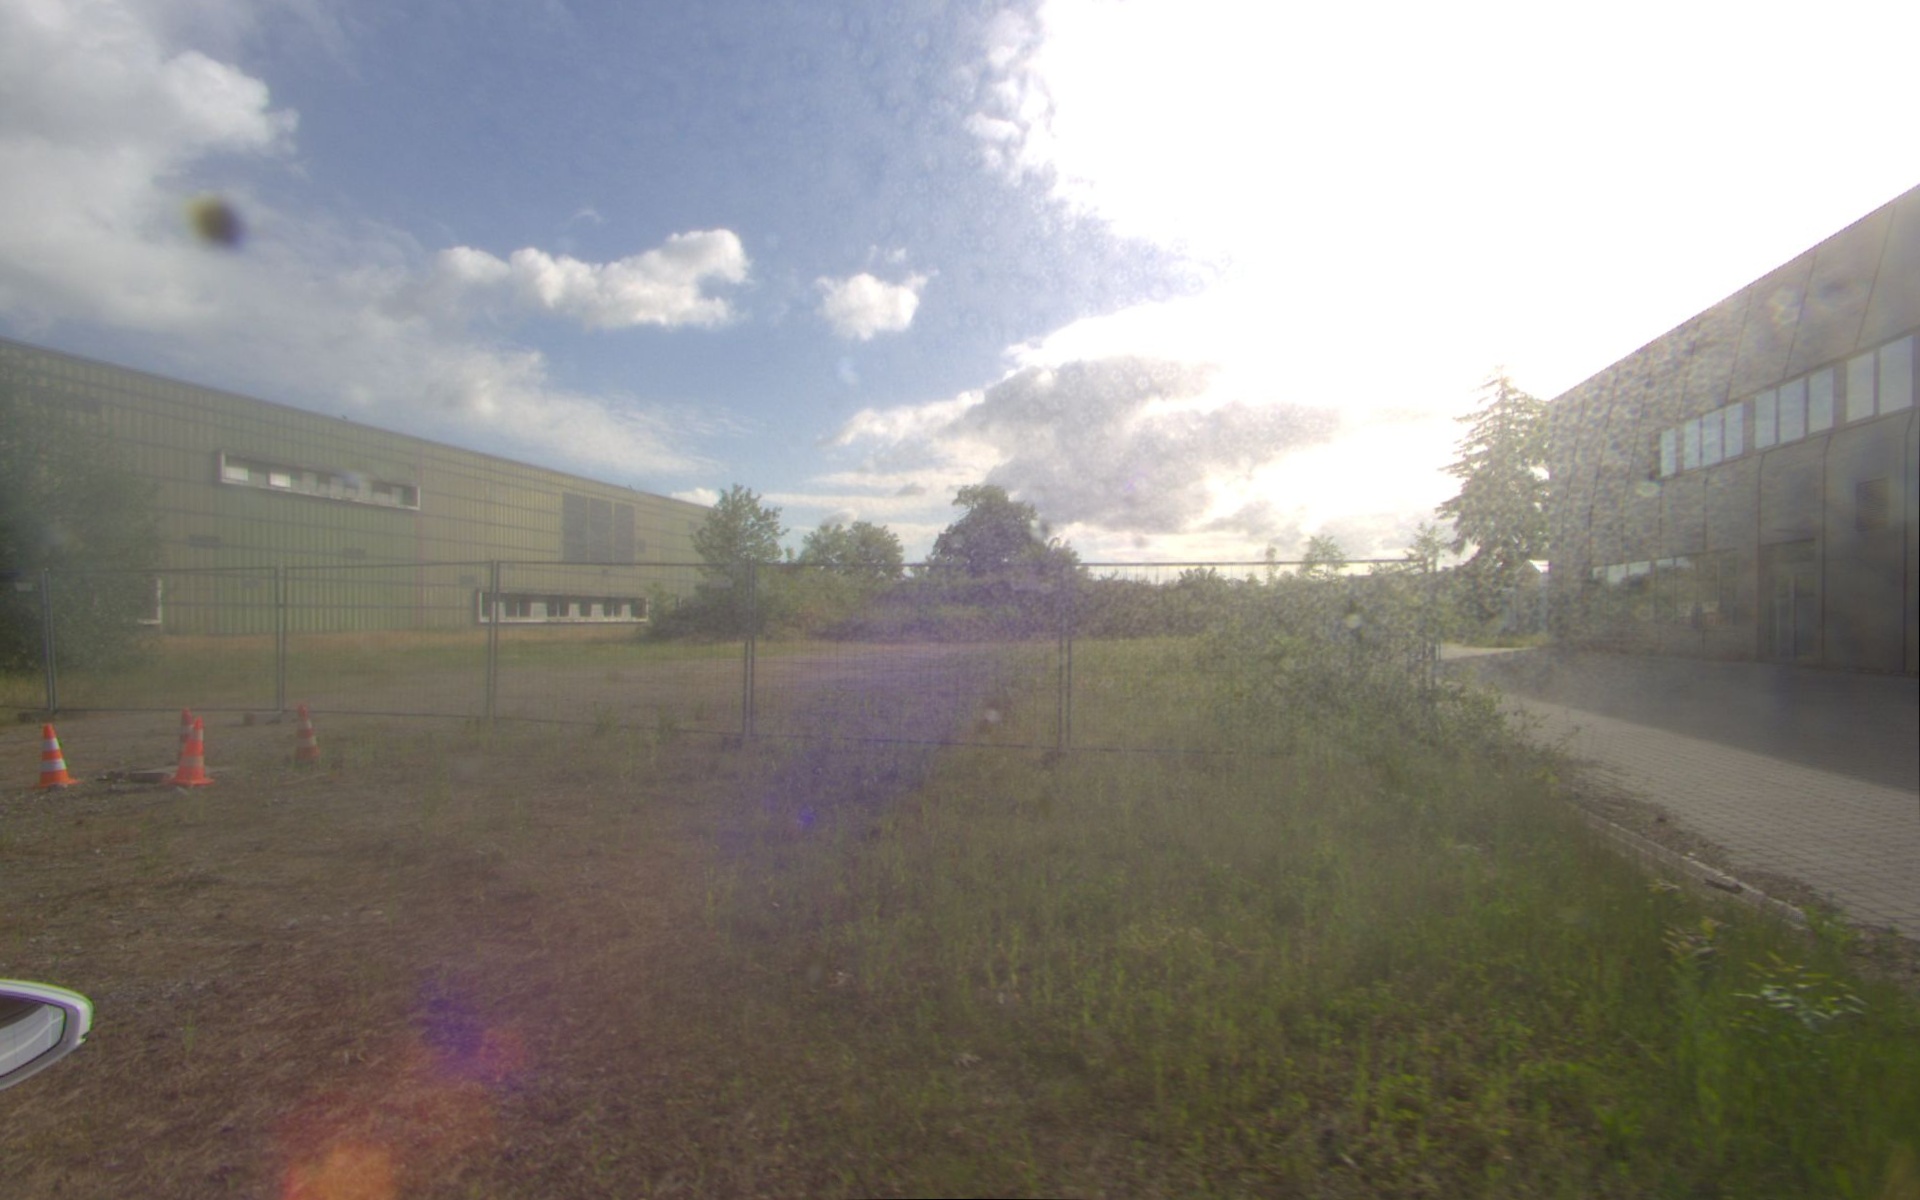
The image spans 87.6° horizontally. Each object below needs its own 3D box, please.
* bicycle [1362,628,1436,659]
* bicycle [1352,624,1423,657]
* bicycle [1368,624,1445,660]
[{"bbox_3d":[14.207,1.398,32.435,2.030,0.933,0.945,0,0,11],"label":"bicycle"},{"bbox_3d":[14.261,1.348,33.453,2.030,1.058,0.945,0,0,11],"label":"bicycle"},{"bbox_3d":[13.897,1.296,31.221,2.030,1.101,0.945,0,0,11],"label":"bicycle"}]
